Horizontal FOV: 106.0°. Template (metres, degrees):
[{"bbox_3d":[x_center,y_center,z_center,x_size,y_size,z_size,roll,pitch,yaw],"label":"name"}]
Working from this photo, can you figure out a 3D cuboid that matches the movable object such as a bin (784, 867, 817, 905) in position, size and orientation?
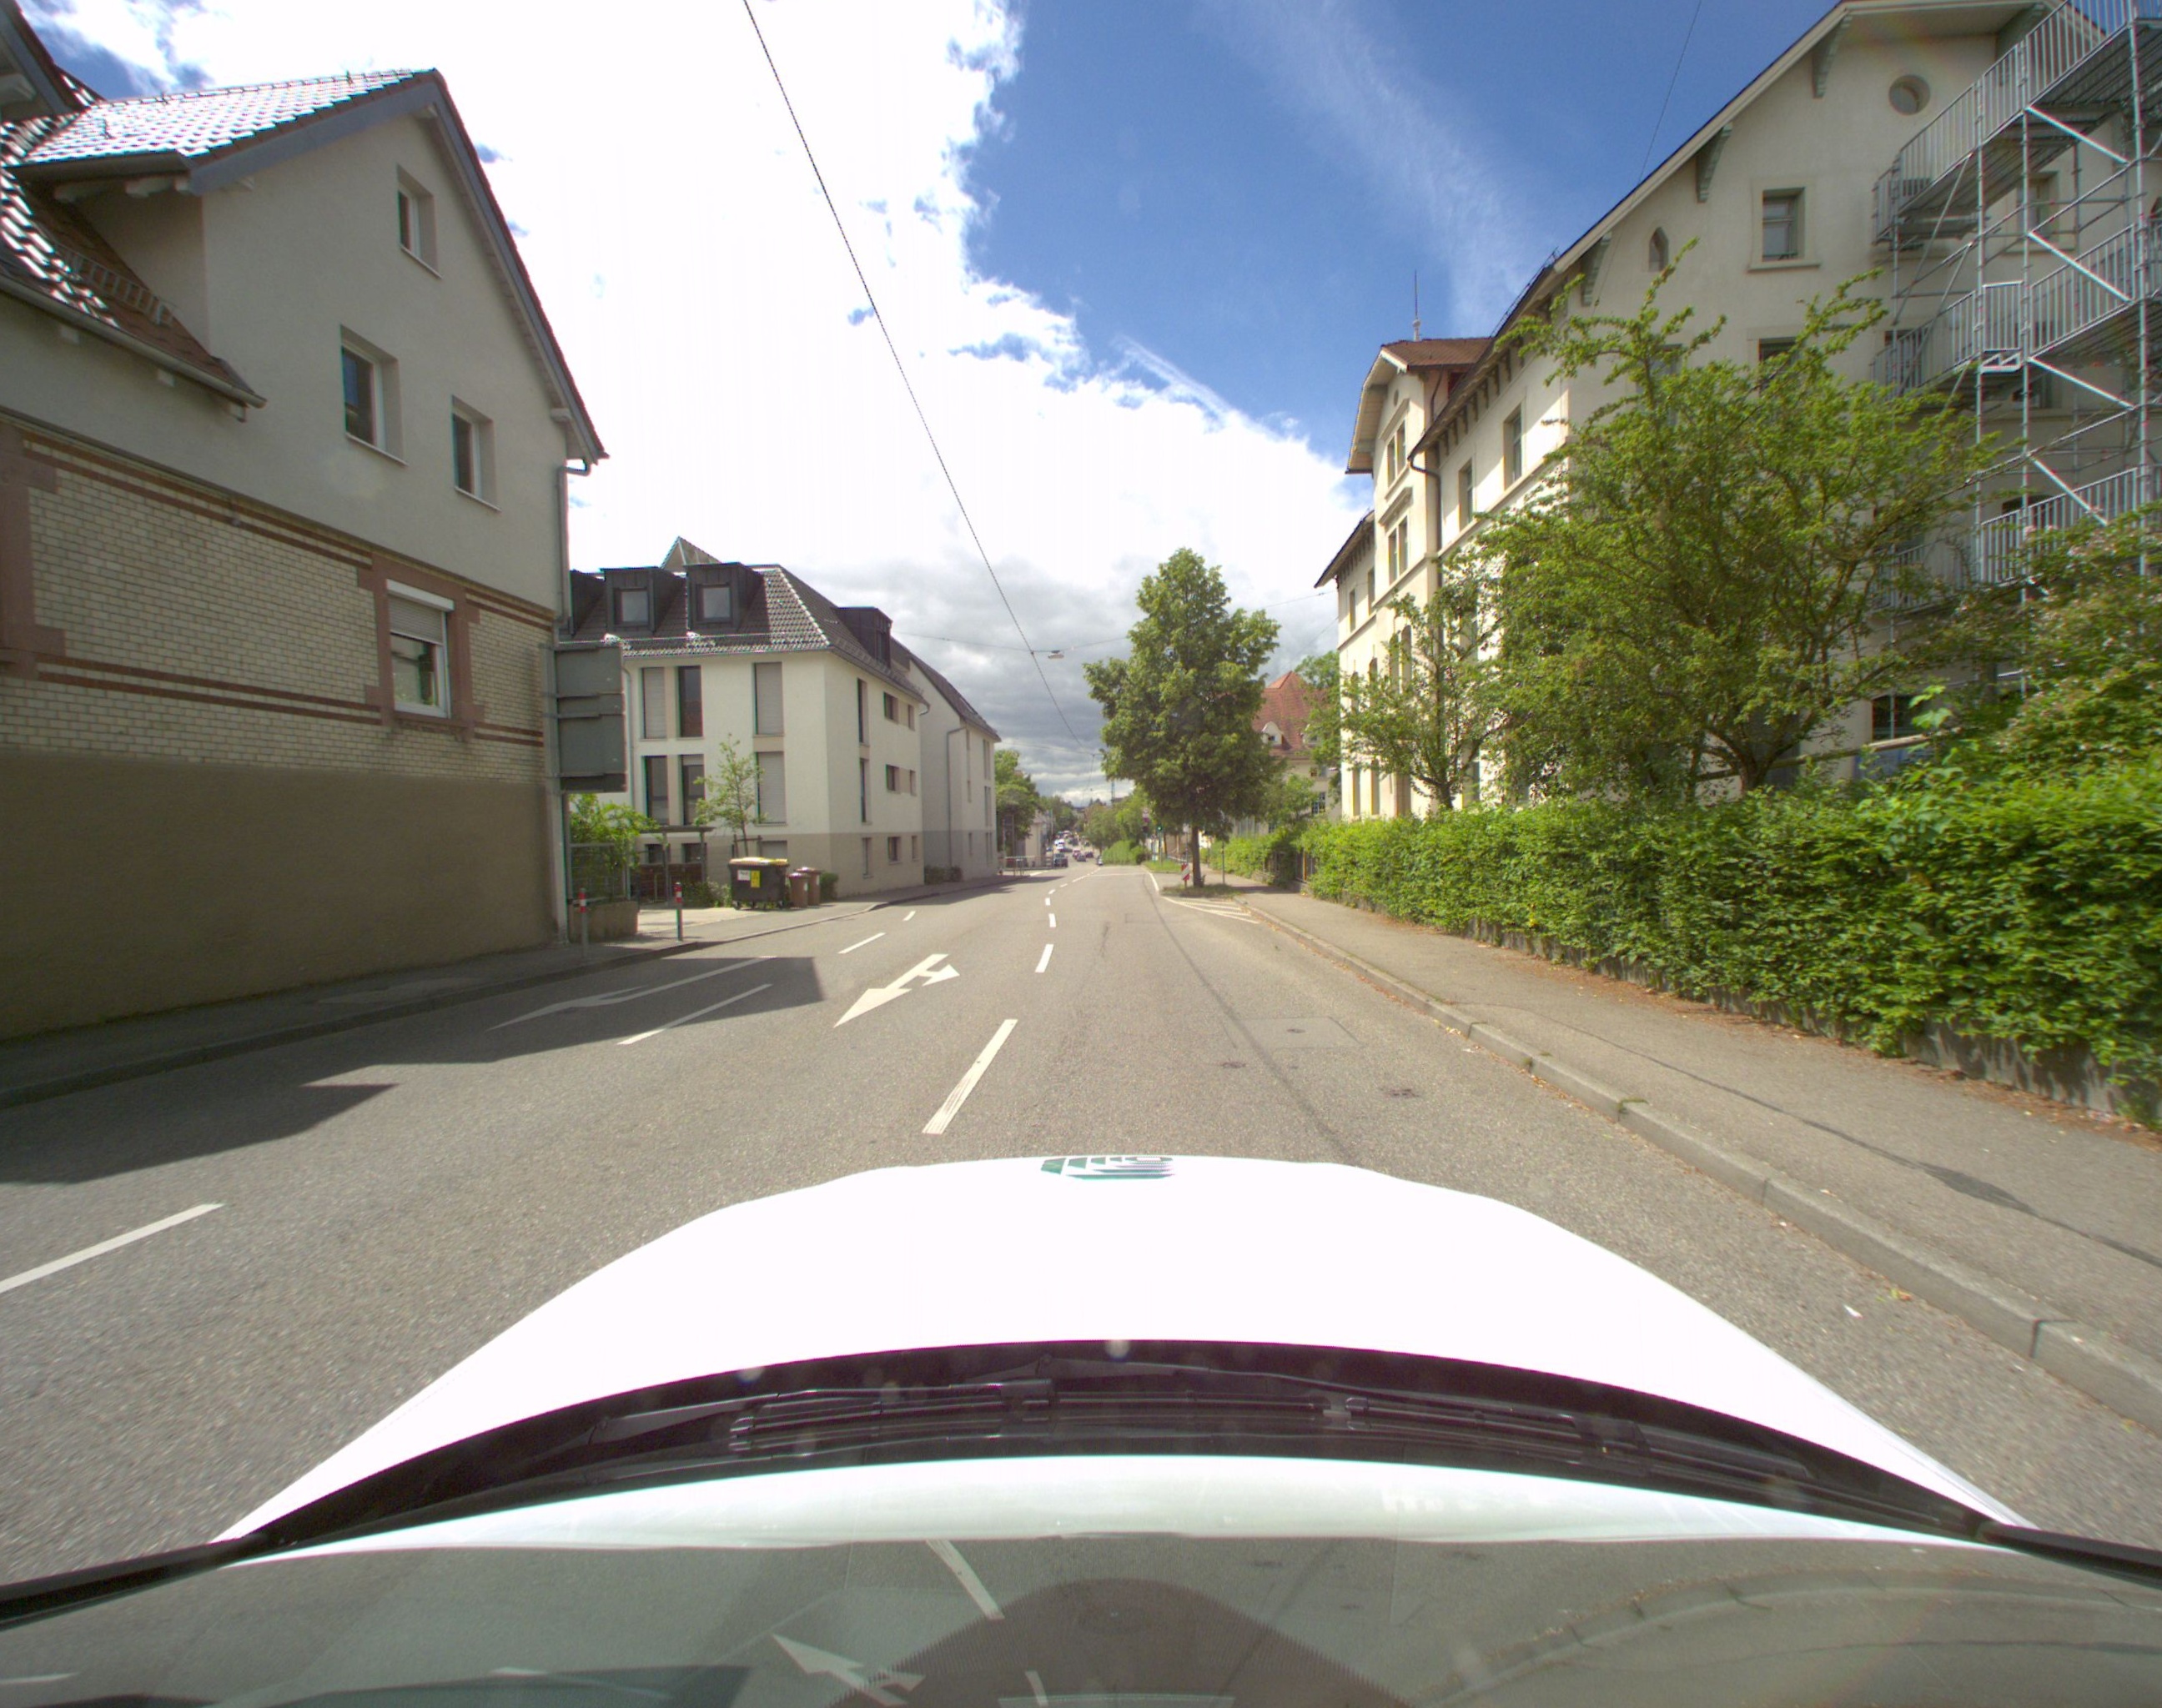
[{"bbox_3d":[-7.676,0.881,22.300,0.638,1.000,0.658,-1,0,3],"label":"movable object such as a bin"}]

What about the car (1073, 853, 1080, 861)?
[{"bbox_3d":[-1.025,0.676,184.258,1.273,1.527,3.043,-2,3,-8],"label":"car"}]

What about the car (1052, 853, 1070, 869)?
[{"bbox_3d":[-2.138,0.689,87.496,1.789,1.610,4.645,-1,0,0],"label":"car"}]

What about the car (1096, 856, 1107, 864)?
[{"bbox_3d":[3.610,1.060,144.159,1.781,1.509,4.361,-1,0,-2],"label":"car"}]

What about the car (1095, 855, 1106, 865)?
[{"bbox_3d":[3.582,1.128,150.033,1.839,1.768,4.512,-1,0,-2],"label":"car"}]

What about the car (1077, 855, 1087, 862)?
[{"bbox_3d":[0.177,0.874,174.961,1.742,1.417,3.991,-1,0,-6],"label":"car"}]

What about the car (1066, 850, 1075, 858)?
[{"bbox_3d":[-2.488,0.073,193.614,1.835,1.862,3.839,0,0,-8],"label":"car"}]

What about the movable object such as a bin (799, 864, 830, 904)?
[{"bbox_3d":[-7.544,0.841,23.042,0.638,1.075,0.660,-1,0,0],"label":"movable object such as a bin"}]

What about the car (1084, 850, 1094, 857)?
[{"bbox_3d":[1.945,-0.126,190.523,1.752,1.371,3.989,-1,1,-8],"label":"car"}]

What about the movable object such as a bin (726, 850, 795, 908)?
[{"bbox_3d":[-8.459,0.643,21.553,1.330,1.446,1.170,-1,0,-1],"label":"movable object such as a bin"}]

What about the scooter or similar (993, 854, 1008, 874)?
[{"bbox_3d":[-5.275,0.653,53.168,0.492,1.261,1.296,-2,0,-26],"label":"scooter or similar"}]

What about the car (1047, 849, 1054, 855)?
[{"bbox_3d":[-8.698,-0.577,233.533,1.866,1.640,4.000,0,0,1],"label":"car"}]
